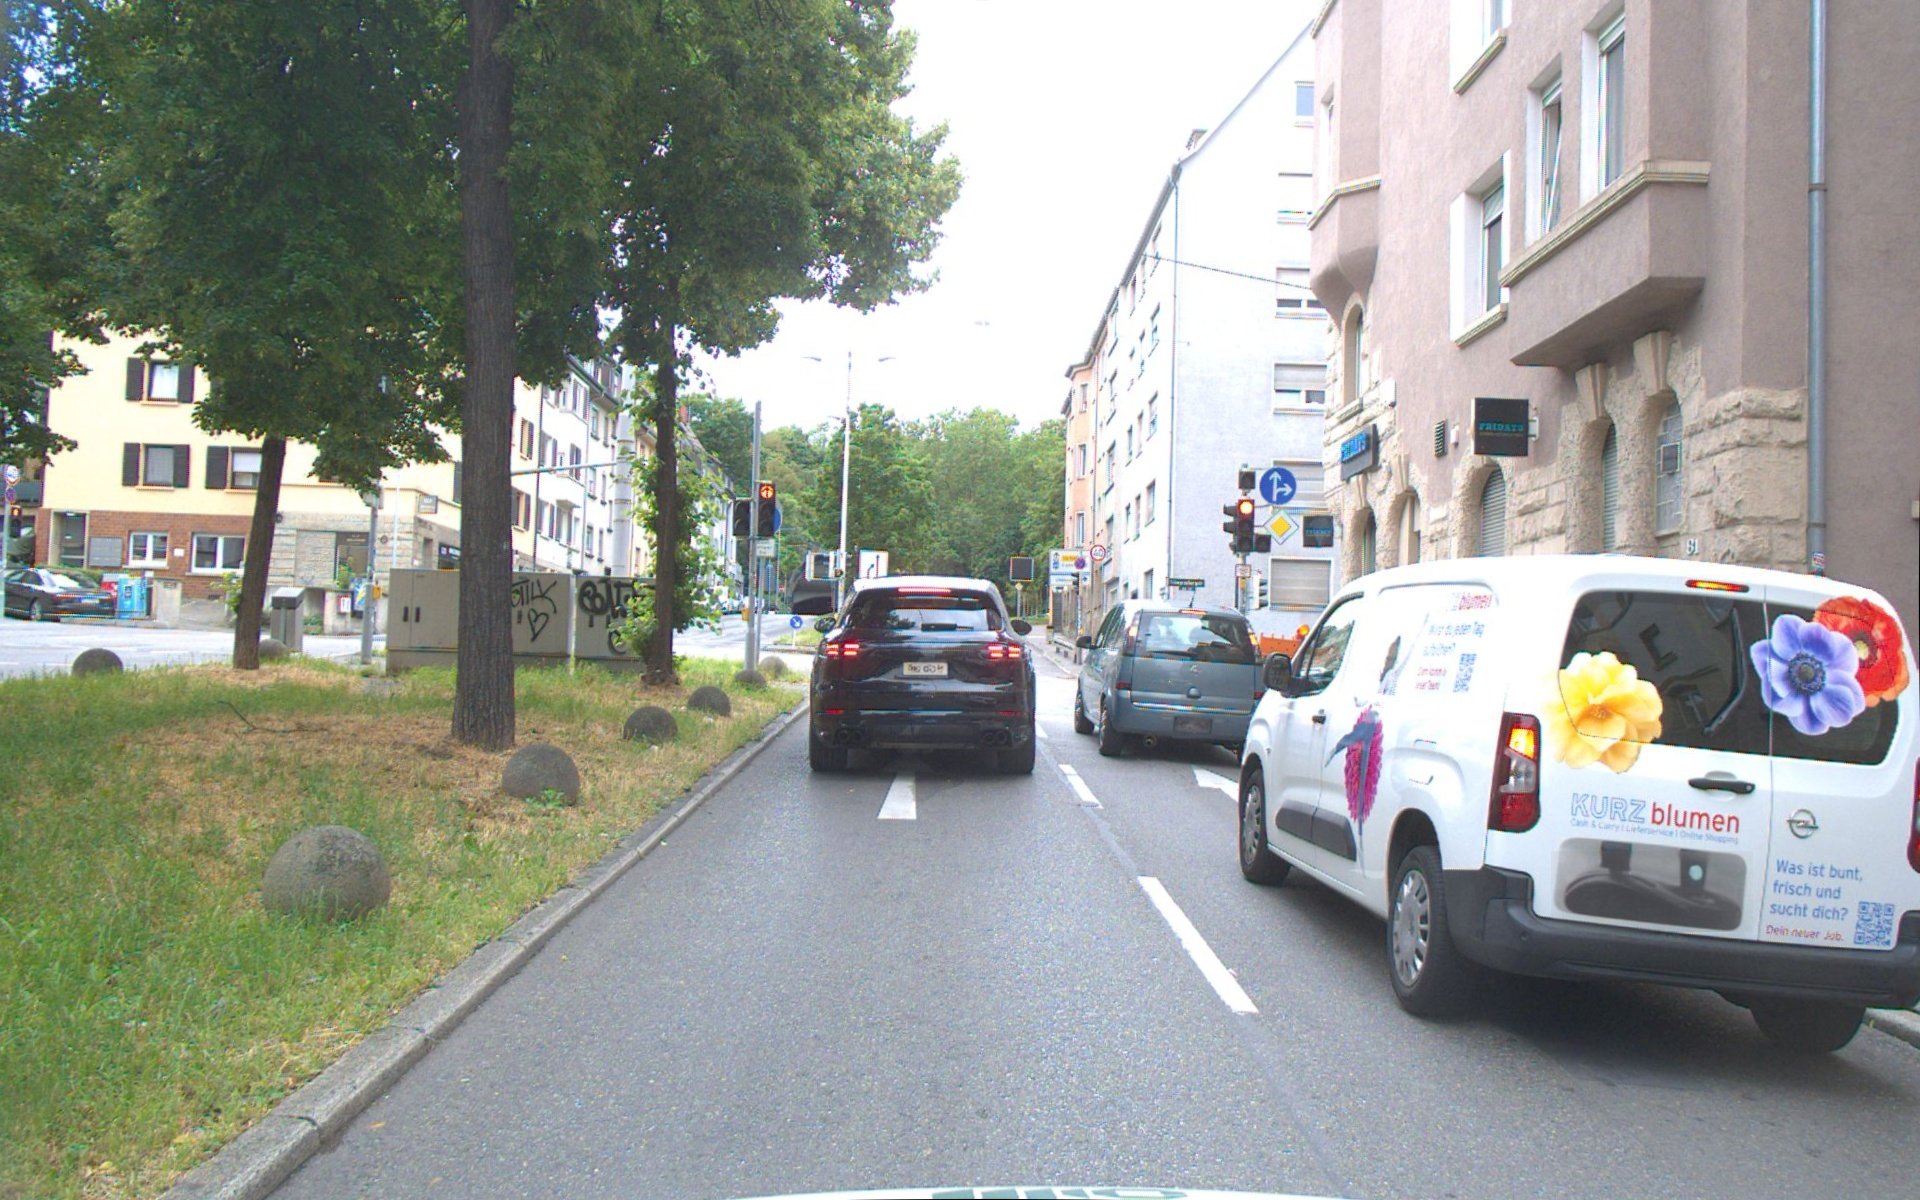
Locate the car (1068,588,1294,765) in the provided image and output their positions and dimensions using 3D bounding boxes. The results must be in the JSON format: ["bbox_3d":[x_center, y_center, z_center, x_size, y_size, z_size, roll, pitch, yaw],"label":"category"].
[{"bbox_3d":[2.280,0.745,17.970,1.717,1.621,3.628,4,0,-3],"label":"car"}]

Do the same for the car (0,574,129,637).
[{"bbox_3d":[-25.891,0.159,47.508,3.916,1.694,1.877,0,-2,33],"label":"car"}]

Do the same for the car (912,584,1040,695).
[{"bbox_3d":[0.246,0.622,27.493,1.953,1.682,4.000,1,-1,0],"label":"car"}]

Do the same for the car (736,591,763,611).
[{"bbox_3d":[-17.124,0.042,134.394,1.758,1.536,3.998,2,0,-2],"label":"car"}]

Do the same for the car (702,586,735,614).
[{"bbox_3d":[-16.500,-0.025,113.174,1.758,1.841,3.998,2,0,-2],"label":"car"}]

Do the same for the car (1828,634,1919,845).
[{"bbox_3d":[8.795,1.076,12.093,3.906,1.427,1.800,2,2,-1],"label":"car"}]

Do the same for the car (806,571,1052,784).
[{"bbox_3d":[-0.241,0.605,15.295,1.953,1.681,4.000,1,0,0],"label":"car"}]

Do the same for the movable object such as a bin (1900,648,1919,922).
[{"bbox_3d":[5.464,0.973,8.103,0.705,1.446,1.692,1,-1,-3],"label":"movable object such as a bin"}]

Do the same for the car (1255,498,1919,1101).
[{"bbox_3d":[2.650,0.705,7.816,1.811,1.857,5.022,3,-1,3],"label":"car"}]
